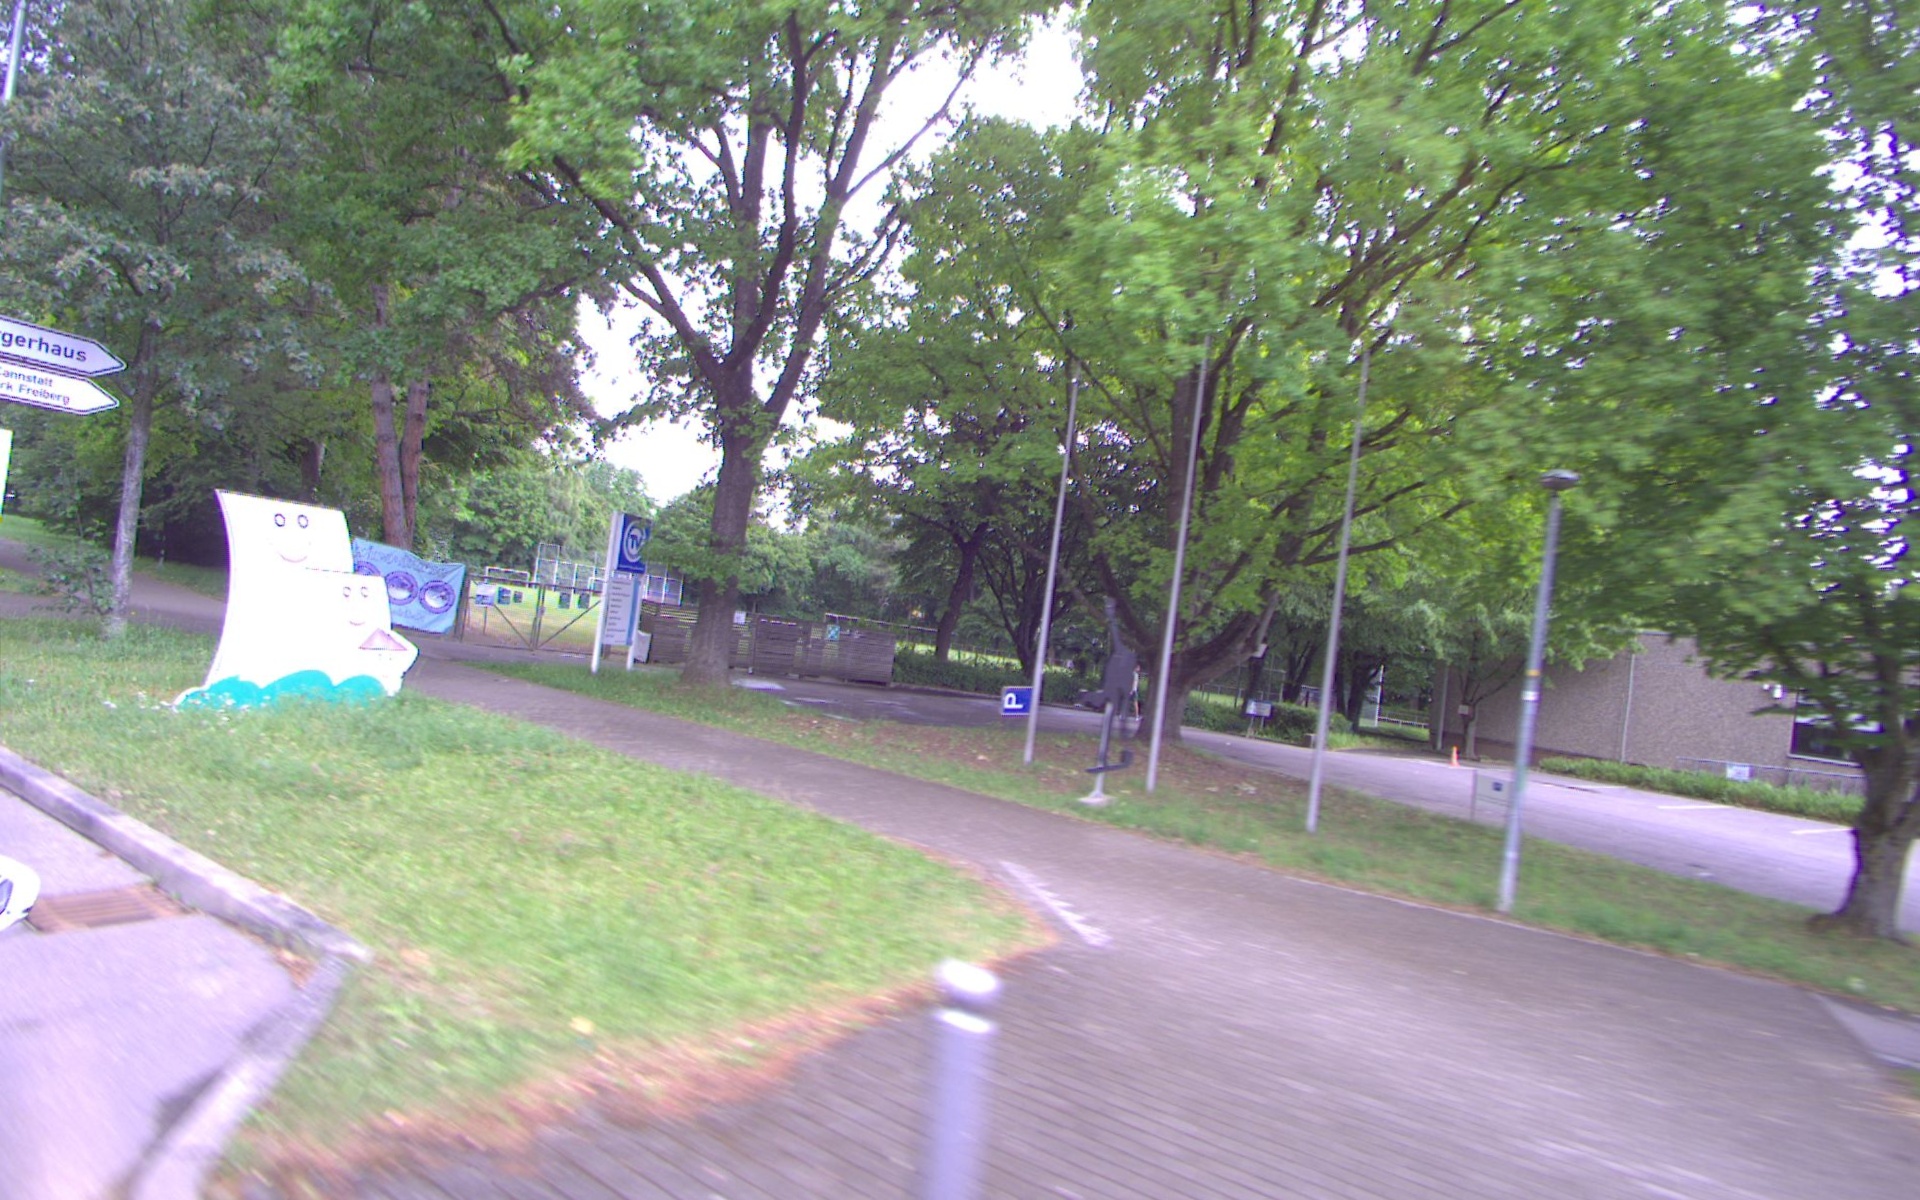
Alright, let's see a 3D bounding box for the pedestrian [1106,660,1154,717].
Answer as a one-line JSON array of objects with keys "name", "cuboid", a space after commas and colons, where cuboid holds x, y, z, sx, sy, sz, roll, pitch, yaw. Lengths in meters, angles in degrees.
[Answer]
[{"name": "pedestrian", "cuboid": [5.444, 2.837, 32.273, 1.139, 1.694, 0.787, 6, -1, -32]}]
